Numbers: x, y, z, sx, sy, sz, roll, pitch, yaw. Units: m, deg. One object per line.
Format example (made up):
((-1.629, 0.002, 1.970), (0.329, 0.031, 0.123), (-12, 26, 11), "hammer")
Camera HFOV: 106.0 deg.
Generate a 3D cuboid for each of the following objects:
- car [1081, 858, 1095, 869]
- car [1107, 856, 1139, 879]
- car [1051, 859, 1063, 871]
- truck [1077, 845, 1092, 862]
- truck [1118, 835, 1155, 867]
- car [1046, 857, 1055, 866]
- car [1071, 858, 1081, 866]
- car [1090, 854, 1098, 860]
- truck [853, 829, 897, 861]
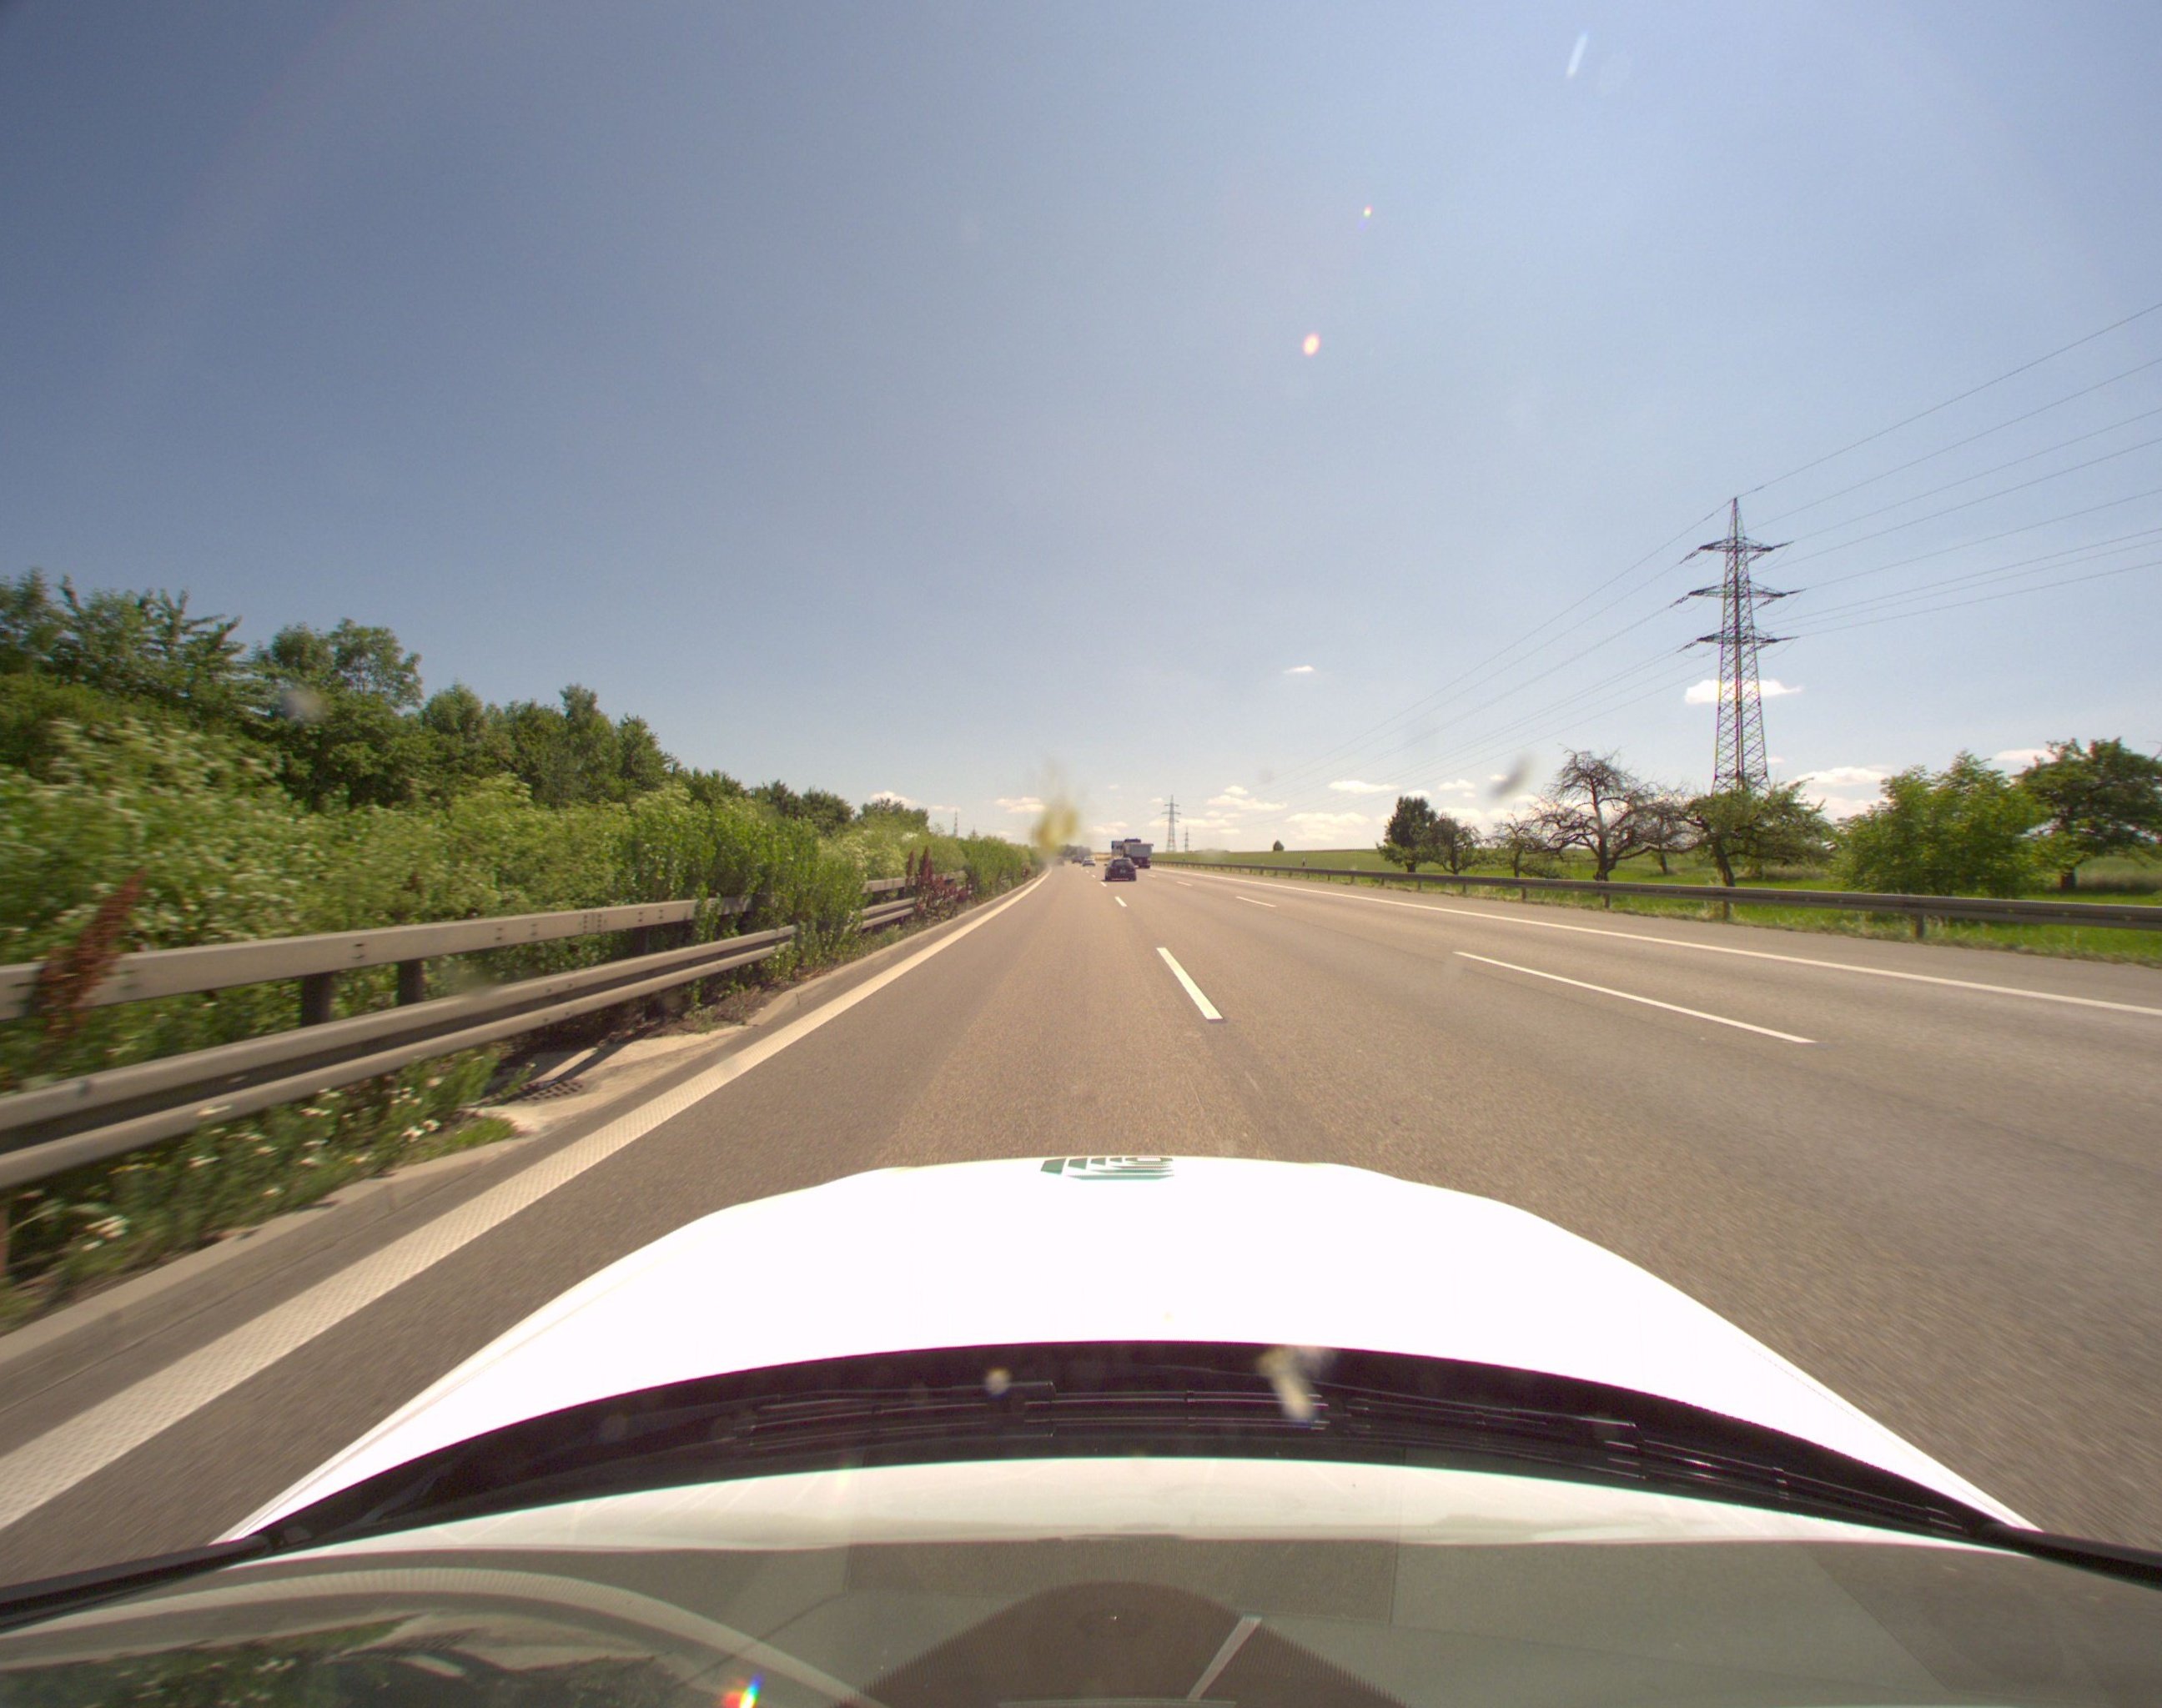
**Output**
((1.068, 1.450, 122.471), (1.815, 1.541, 3.910), (-1, 0, -3), "car")
((2.654, 0.844, 51.748), (1.751, 1.429, 3.998), (-1, 0, -1), "car")
((-3.845, 1.730, 131.133), (1.988, 1.860, 3.997), (-1, 0, -2), "car")
((0.771, -0.113, 198.699), (3.213, 3.924, 9.052), (0, -1, -2), "truck")
((6.752, -0.329, 101.772), (2.860, 3.724, 12.744), (-1, 0, -4), "truck")
((-6.726, 1.563, 178.917), (1.897, 1.926, 3.996), (-1, 0, -3), "car")
((-0.984, 1.497, 161.755), (1.835, 1.541, 3.908), (-1, 0, -4), "car")
((3.640, 0.838, 232.002), (1.988, 1.853, 3.998), (-1, 0, -1), "car")
((-18.132, -0.746, 71.864), (2.680, 2.748, 4.643), (-1, 0, -1), "truck")
